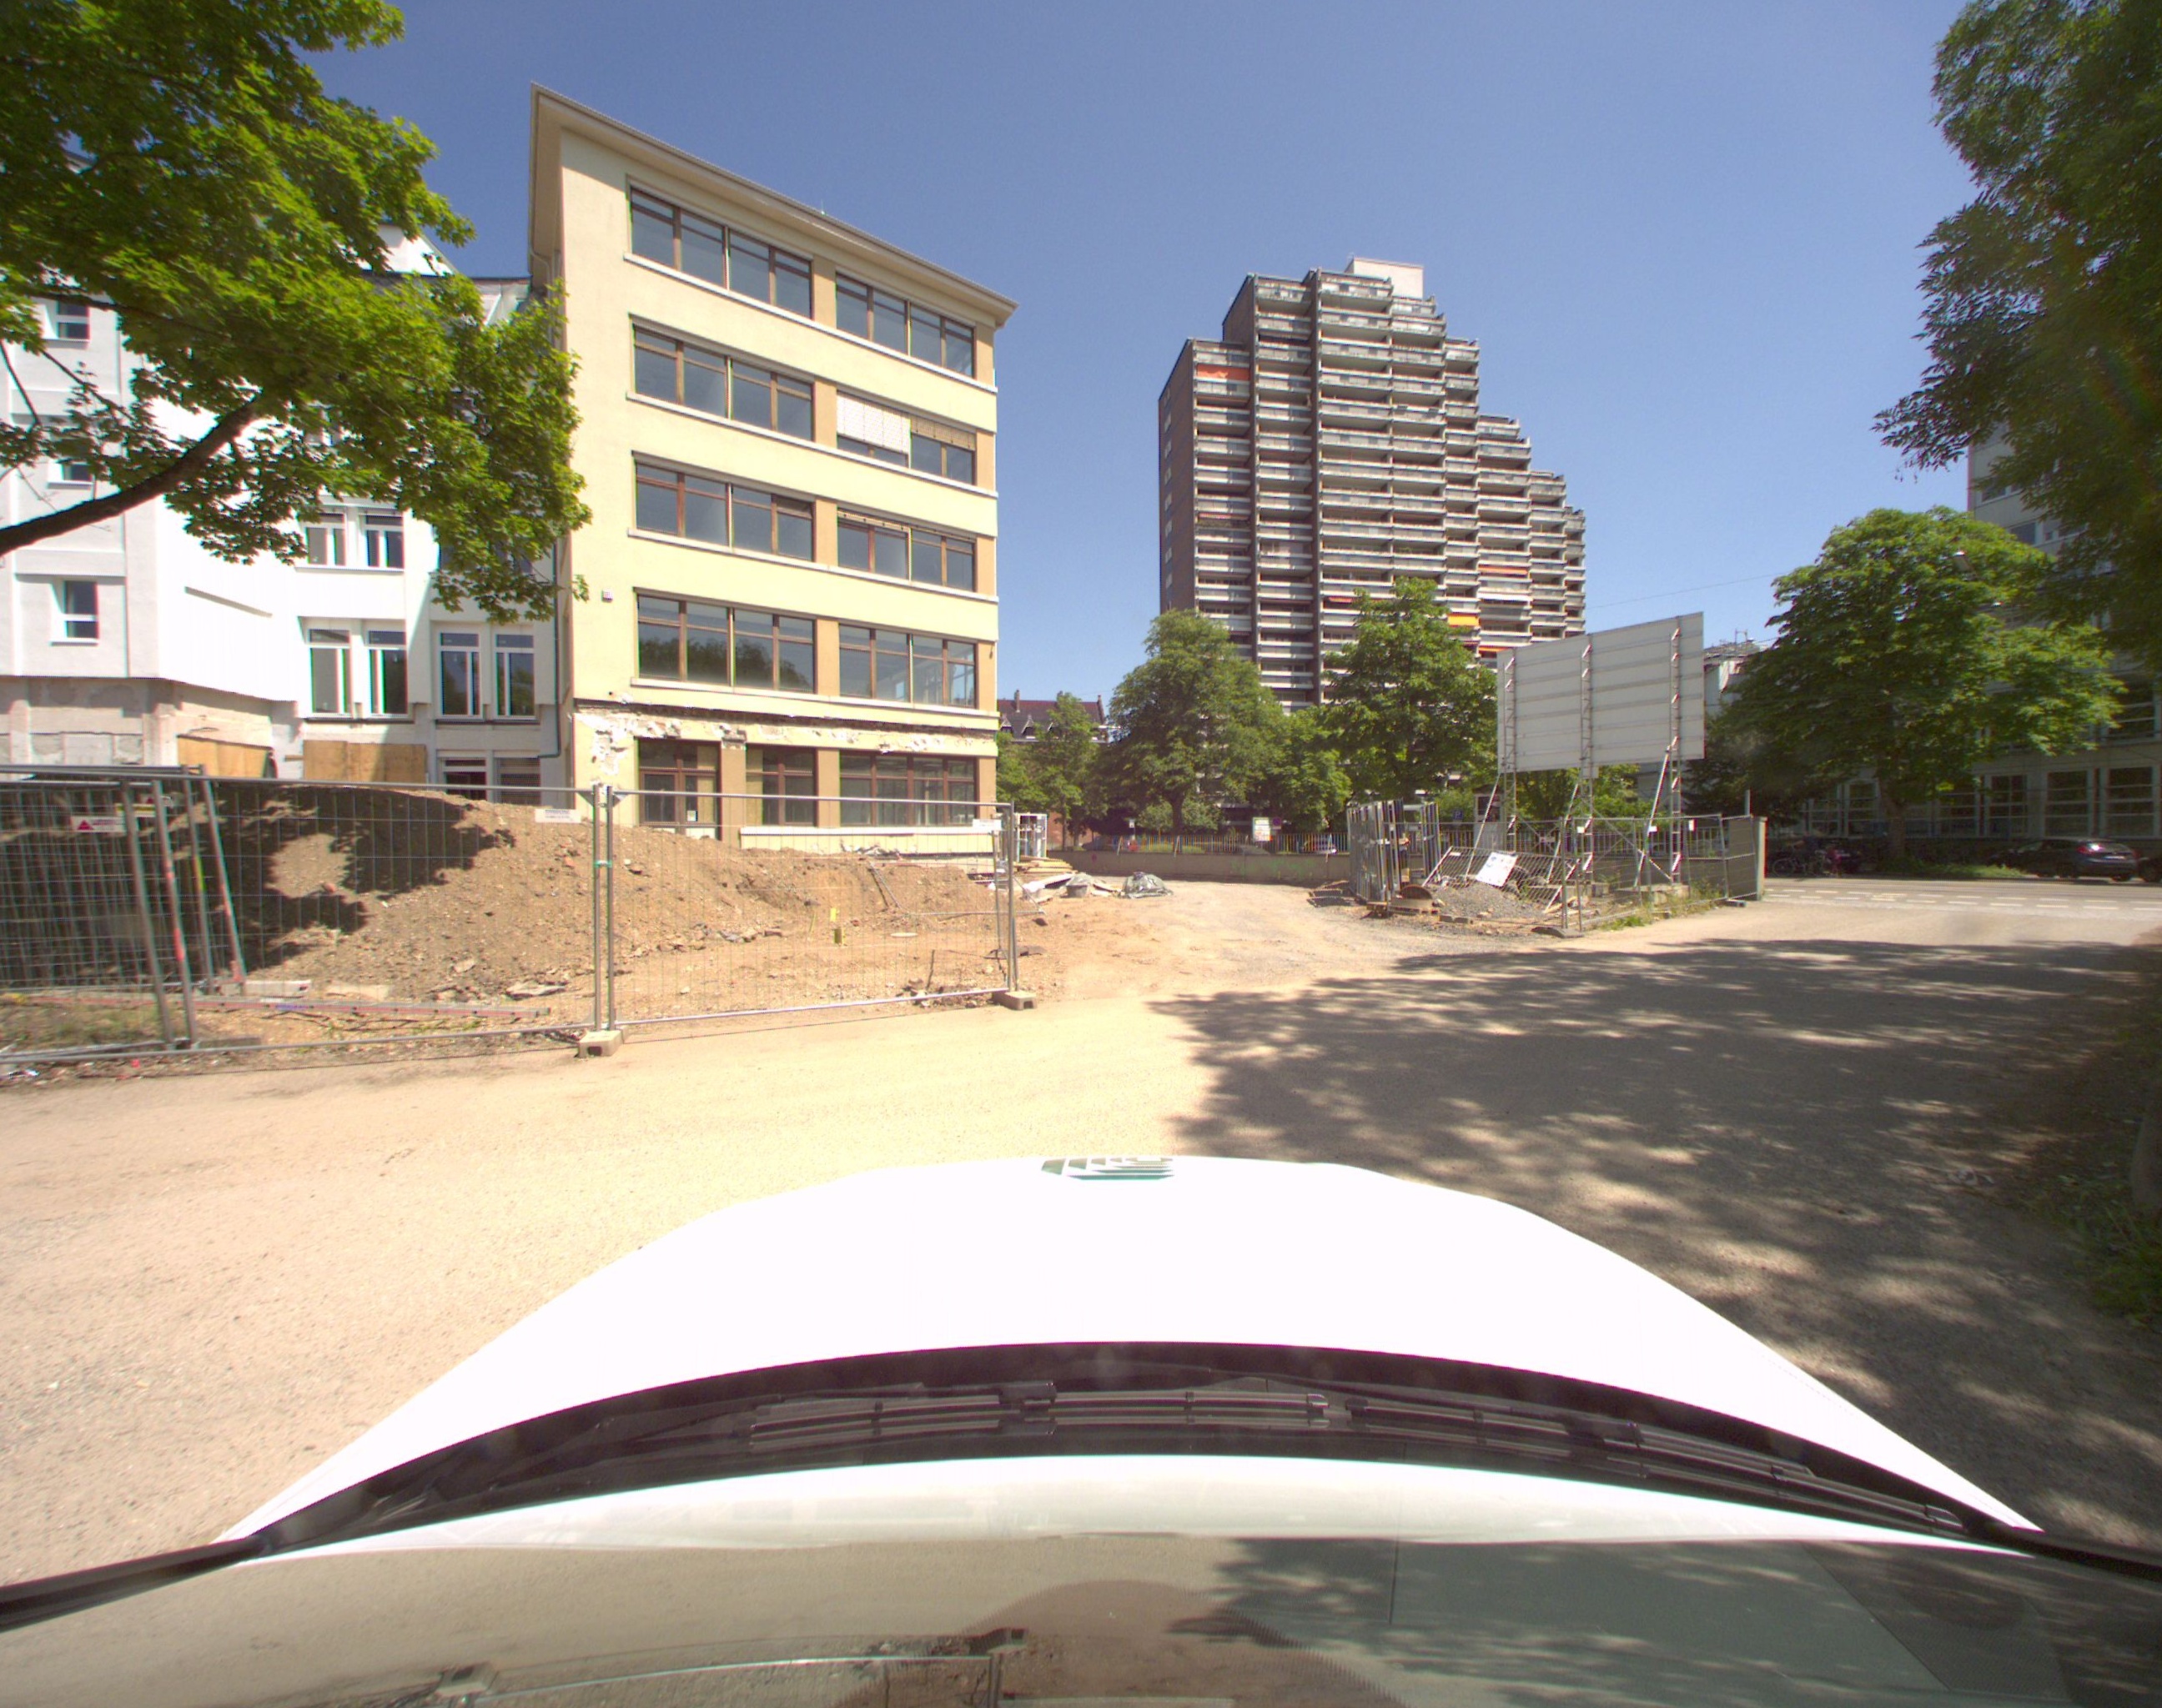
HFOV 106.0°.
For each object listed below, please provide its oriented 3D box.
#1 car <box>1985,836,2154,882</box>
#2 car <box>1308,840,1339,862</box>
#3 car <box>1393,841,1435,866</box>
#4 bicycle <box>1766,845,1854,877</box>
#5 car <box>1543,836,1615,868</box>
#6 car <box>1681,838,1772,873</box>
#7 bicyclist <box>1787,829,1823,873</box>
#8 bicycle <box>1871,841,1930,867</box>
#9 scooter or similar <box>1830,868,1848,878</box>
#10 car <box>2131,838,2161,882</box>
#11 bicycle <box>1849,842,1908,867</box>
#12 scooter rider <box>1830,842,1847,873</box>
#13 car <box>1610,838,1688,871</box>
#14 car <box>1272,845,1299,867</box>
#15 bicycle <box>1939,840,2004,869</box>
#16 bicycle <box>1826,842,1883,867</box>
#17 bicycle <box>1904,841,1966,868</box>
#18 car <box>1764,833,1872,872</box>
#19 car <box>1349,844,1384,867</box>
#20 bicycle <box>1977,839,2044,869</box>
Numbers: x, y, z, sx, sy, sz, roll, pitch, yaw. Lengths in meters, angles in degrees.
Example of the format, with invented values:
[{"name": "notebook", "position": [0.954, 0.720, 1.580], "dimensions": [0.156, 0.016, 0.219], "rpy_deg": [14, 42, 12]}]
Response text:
[{"name": "car", "position": [34.112, 0.142, 28.269], "dimensions": [1.631, 1.463, 3.684], "rpy_deg": [-1, 0, 6]}, {"name": "car", "position": [15.872, -0.217, 53.417], "dimensions": [1.622, 1.387, 3.691], "rpy_deg": [-1, 0, 12]}, {"name": "car", "position": [19.463, -0.042, 47.720], "dimensions": [1.622, 1.387, 3.691], "rpy_deg": [-1, 0, 12]}, {"name": "bicycle", "position": [27.836, 0.255, 31.136], "dimensions": [0.790, 1.152, 2.411], "rpy_deg": [-1, 1, -40]}, {"name": "car", "position": [24.241, -0.122, 39.793], "dimensions": [1.624, 1.463, 3.685], "rpy_deg": [-1, 0, 7]}, {"name": "car", "position": [28.356, 0.038, 35.919], "dimensions": [1.622, 1.463, 3.689], "rpy_deg": [-1, 0, 11]}, {"name": "bicyclist", "position": [27.769, -0.122, 31.224], "dimensions": [0.863, 1.665, 0.890], "rpy_deg": [-1, 0, -40]}, {"name": "bicycle", "position": [37.303, -0.002, 37.075], "dimensions": [2.379, 1.157, 0.780], "rpy_deg": [-1, 0, -13]}, {"name": "scooter or similar", "position": [27.809, 0.685, 29.886], "dimensions": [0.367, 0.359, 0.441], "rpy_deg": [0, 0, -40]}, {"name": "car", "position": [35.841, 0.197, 25.483], "dimensions": [1.597, 1.445, 3.687], "rpy_deg": [-1, 0, 9]}, {"name": "bicycle", "position": [37.101, 0.014, 37.888], "dimensions": [2.379, 1.157, 0.780], "rpy_deg": [-1, 0, -13]}, {"name": "scooter rider", "position": [27.803, 0.116, 29.889], "dimensions": [0.361, 1.134, 0.412], "rpy_deg": [-1, 0, -40]}, {"name": "car", "position": [26.408, 0.020, 37.992], "dimensions": [1.622, 1.463, 3.689], "rpy_deg": [-1, 0, 11]}, {"name": "car", "position": [13.723, 0.119, 54.836], "dimensions": [1.622, 1.387, 3.691], "rpy_deg": [-1, 0, 12]}, {"name": "bicycle", "position": [37.888, 0.009, 34.653], "dimensions": [2.426, 1.188, 0.780], "rpy_deg": [-1, 0, -13]}, {"name": "bicycle", "position": [36.895, 0.002, 38.860], "dimensions": [2.379, 1.157, 0.780], "rpy_deg": [-1, 0, -13]}, {"name": "bicycle", "position": [37.621, 0.031, 35.888], "dimensions": [2.379, 1.157, 0.780], "rpy_deg": [-1, 0, -13]}, {"name": "car", "position": [30.115, -0.072, 33.422], "dimensions": [1.622, 1.463, 3.689], "rpy_deg": [-1, 0, 11]}, {"name": "car", "position": [17.714, 0.068, 50.602], "dimensions": [1.622, 1.387, 3.691], "rpy_deg": [-1, 0, 12]}, {"name": "bicycle", "position": [38.170, 0.005, 33.449], "dimensions": [2.426, 1.188, 0.780], "rpy_deg": [-1, 0, -13]}]
